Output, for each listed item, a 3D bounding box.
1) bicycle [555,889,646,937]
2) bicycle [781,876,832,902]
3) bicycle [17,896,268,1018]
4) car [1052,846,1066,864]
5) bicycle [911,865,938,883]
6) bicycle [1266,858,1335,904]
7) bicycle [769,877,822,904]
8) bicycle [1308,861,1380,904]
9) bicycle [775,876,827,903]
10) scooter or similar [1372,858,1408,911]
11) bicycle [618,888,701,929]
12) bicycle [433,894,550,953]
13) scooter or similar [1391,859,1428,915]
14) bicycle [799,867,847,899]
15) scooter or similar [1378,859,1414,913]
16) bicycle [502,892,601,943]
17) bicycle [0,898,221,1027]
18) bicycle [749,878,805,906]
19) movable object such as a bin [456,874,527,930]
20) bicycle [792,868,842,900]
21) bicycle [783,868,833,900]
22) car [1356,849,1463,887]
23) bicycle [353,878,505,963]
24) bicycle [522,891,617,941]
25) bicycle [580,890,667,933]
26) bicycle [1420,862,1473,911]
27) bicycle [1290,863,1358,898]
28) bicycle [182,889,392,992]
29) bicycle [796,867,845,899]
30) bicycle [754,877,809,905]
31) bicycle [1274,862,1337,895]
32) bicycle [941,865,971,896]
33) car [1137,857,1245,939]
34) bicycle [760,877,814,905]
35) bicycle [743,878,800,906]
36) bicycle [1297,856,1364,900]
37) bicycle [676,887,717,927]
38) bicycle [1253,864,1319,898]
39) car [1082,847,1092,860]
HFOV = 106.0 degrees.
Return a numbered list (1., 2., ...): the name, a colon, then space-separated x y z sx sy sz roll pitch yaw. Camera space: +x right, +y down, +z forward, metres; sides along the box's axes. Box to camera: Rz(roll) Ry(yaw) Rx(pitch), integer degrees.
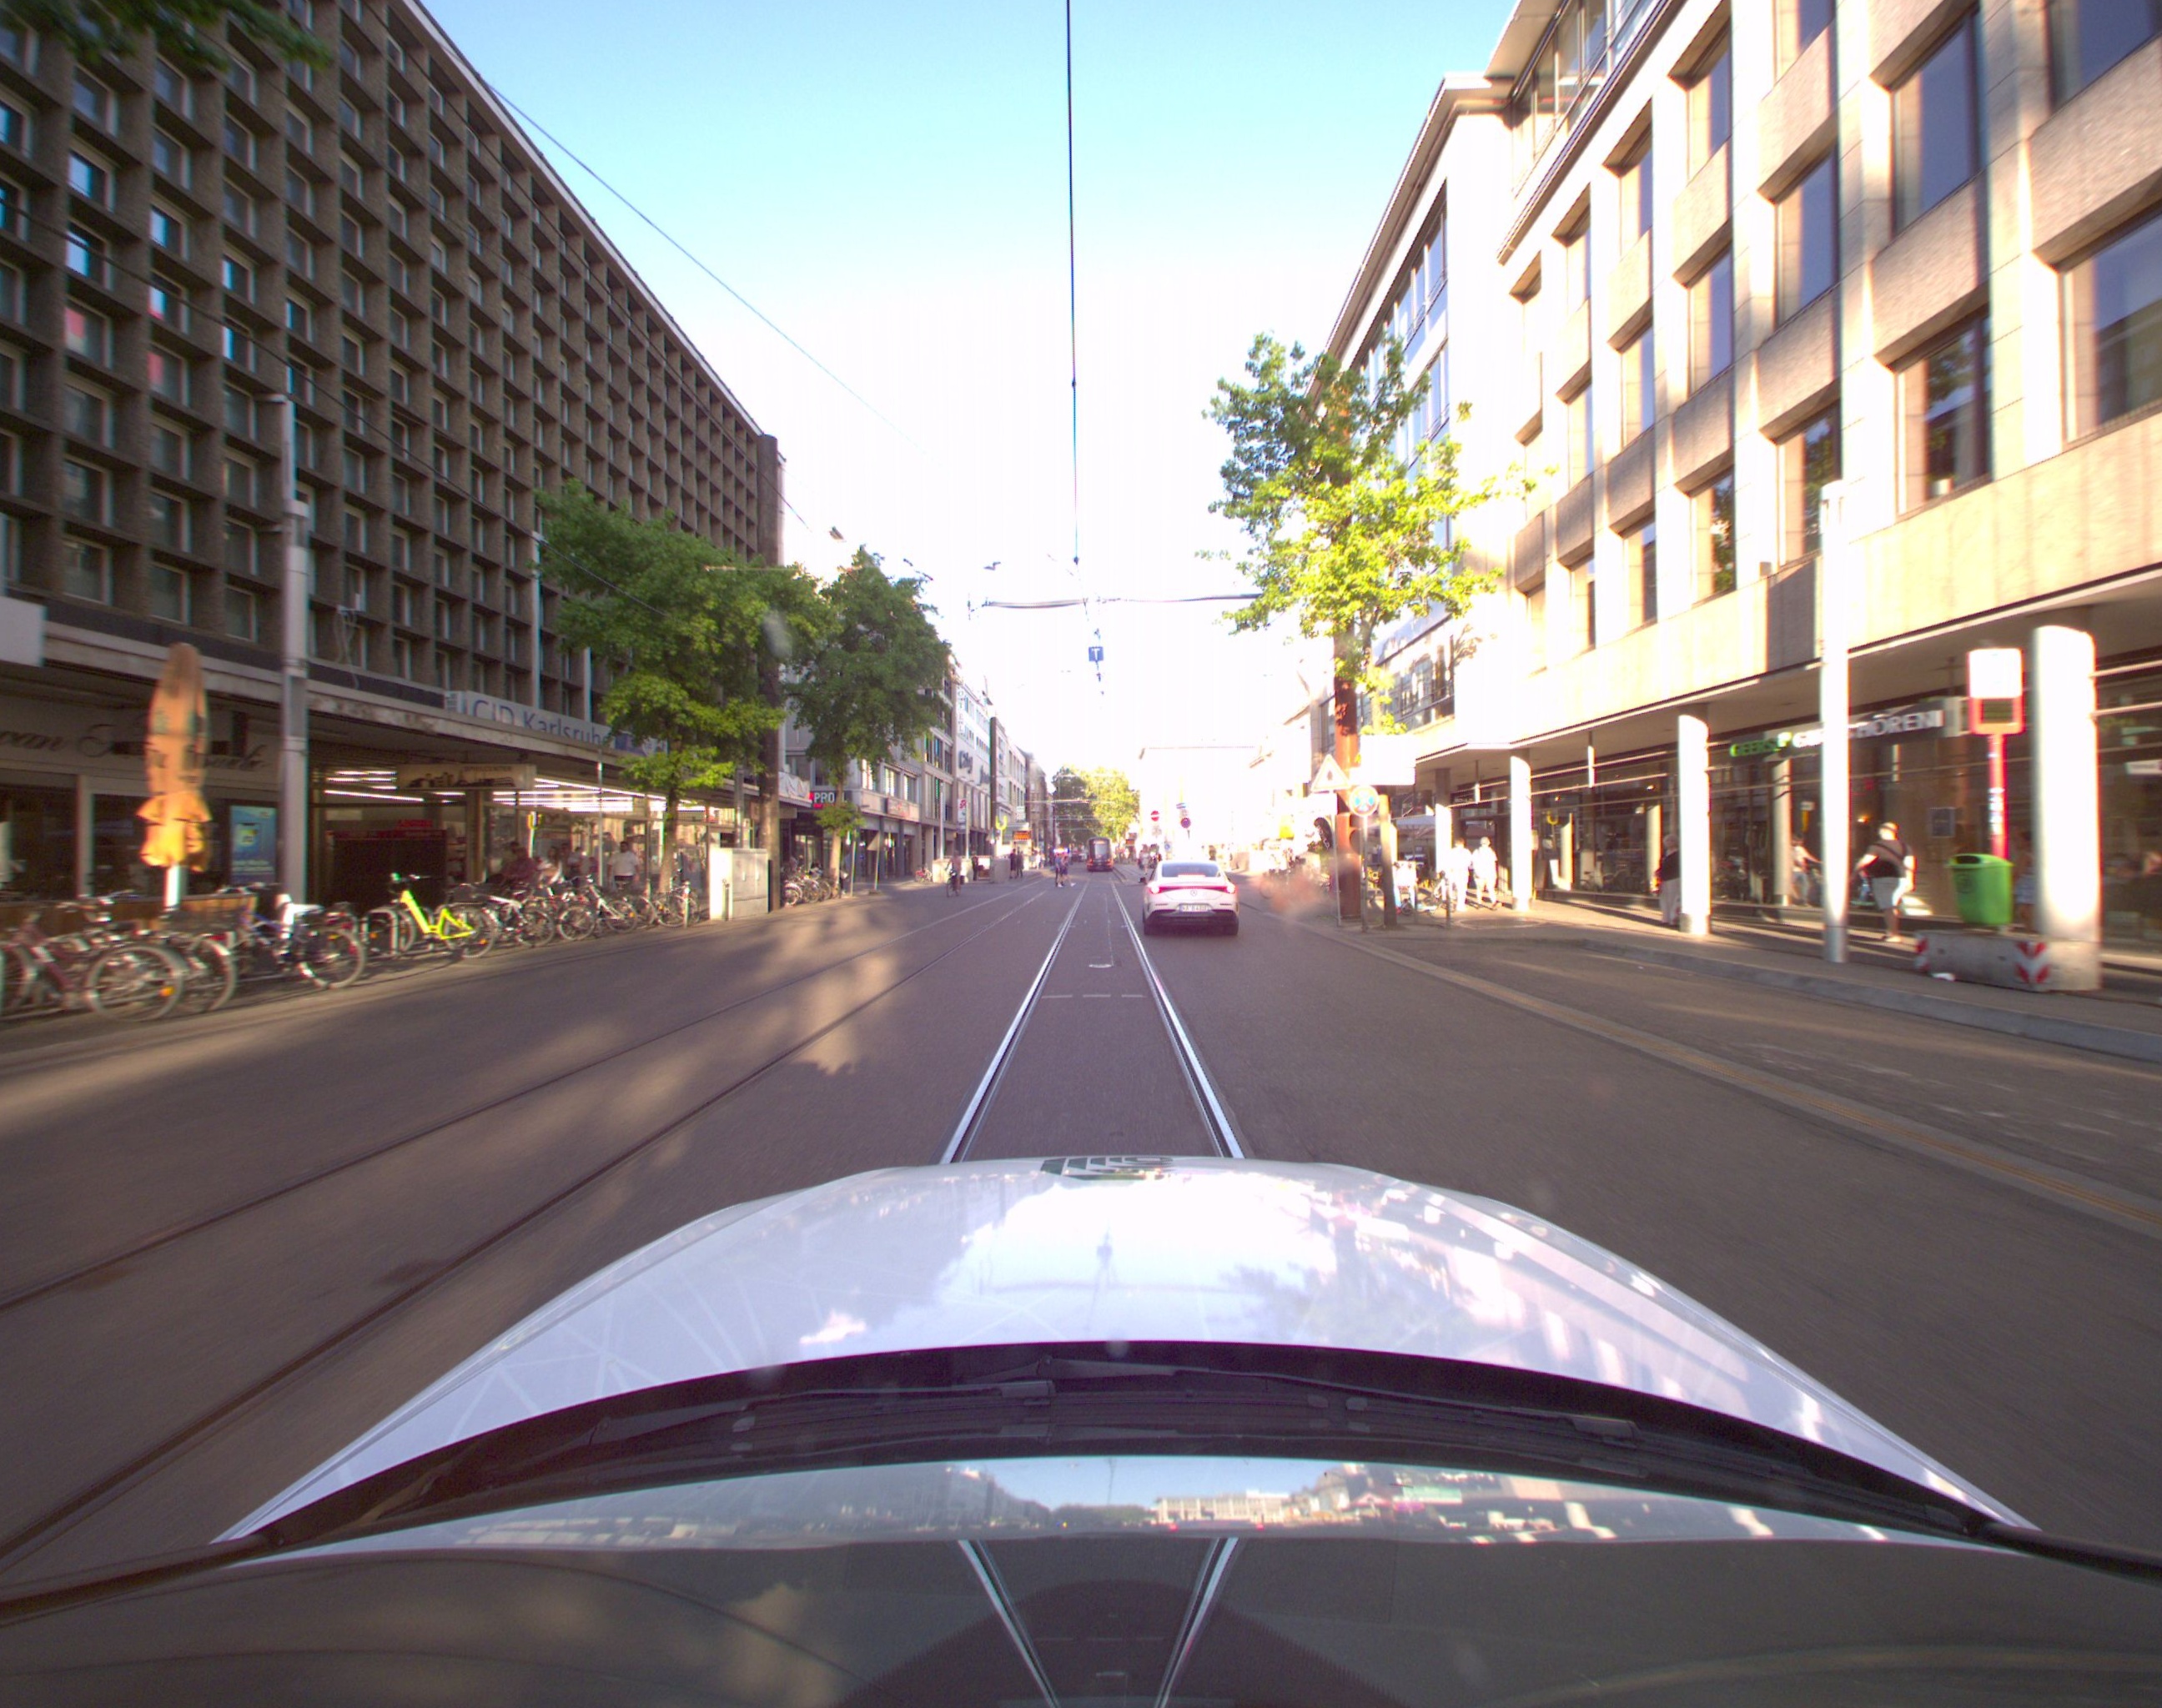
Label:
1. bicycle: -8.878 1.094 15.062 1.487 0.841 0.345 1 0 2
2. bicycle: -8.605 1.101 25.524 1.487 0.783 0.345 1 0 2
3. bicycle: -8.729 0.950 7.608 1.785 1.077 0.377 1 0 -3
4. car: -3.710 0.105 135.870 1.986 2.897 5.277 -1 0 2
5. bicycle: -9.182 1.164 47.772 0.713 1.010 2.047 -1 0 15
6. bicycle: 6.640 0.795 24.670 1.908 1.281 0.608 -2 0 -10
7. bicycle: -8.689 1.104 24.796 1.487 0.783 0.345 1 0 2
8. bicycle: 7.700 0.818 23.822 1.908 1.156 0.608 -2 0 -10
9. bicycle: -8.647 1.098 25.165 1.487 0.783 0.345 1 0 2
10. scooter or similar: 7.825 0.762 20.637 0.527 1.277 0.658 -2 0 -10
11. bicycle: -8.521 1.089 16.471 1.487 0.783 0.345 1 0 2
12. bicycle: -9.120 1.075 12.629 1.490 0.876 0.344 1 0 -5
13. scooter or similar: 7.749 0.765 19.229 0.491 1.277 0.658 -2 0 -10
14. bicycle: -8.643 0.974 27.310 1.492 1.029 0.343 1 0 -9
15. scooter or similar: 7.710 0.774 19.938 0.527 1.277 0.658 -2 0 -10
16. bicycle: -9.113 1.087 14.037 1.487 0.841 0.345 1 0 2
17. bicycle: -8.740 0.947 7.188 1.785 1.077 0.377 1 0 -3
18. bicycle: -8.855 1.096 23.716 1.487 0.783 0.345 1 0 2
19. movable object such as a bin: -11.729 0.938 16.231 0.713 1.039 0.980 -1 0 -5
20. bicycle: -8.606 0.968 26.563 1.492 1.029 0.343 1 0 -9
21. bicycle: -8.750 0.972 26.126 1.492 1.009 0.343 1 0 -9
22. car: 13.572 0.554 33.750 3.794 1.473 1.647 -1 0 -4
23. bicycle: -9.081 0.917 11.367 1.839 1.141 0.377 1 0 2
24. bicycle: -9.071 1.090 14.458 1.487 0.841 0.345 1 0 2
25. bicycle: -8.854 1.103 15.781 1.487 0.783 0.345 1 0 2
26. bicycle: 9.013 0.778 20.160 0.562 1.127 1.932 -2 0 5
27. bicycle: 8.050 0.865 26.967 2.115 1.096 0.607 -1 -1 -12
28. bicycle: -8.711 0.943 8.969 1.842 1.077 0.377 1 0 -3
29. bicycle: -8.607 0.970 26.937 1.492 1.029 0.343 1 0 -9
30. bicycle: -8.840 1.097 24.075 1.487 0.783 0.345 1 0 2
31. bicycle: 8.036 0.867 29.167 2.114 1.096 0.608 -1 -1 -10
32. bicycle: -4.897 1.019 31.929 0.797 1.142 2.257 1 0 0
33. car: 2.141 0.804 16.917 1.850 1.455 4.177 0 0 2
34. bicycle: -8.821 1.105 24.435 1.487 0.783 0.345 1 0 2
35. bicycle: -8.867 1.090 23.361 1.487 0.783 0.345 1 0 2
36. bicycle: 7.836 0.748 25.559 1.908 1.281 0.608 -2 0 -10
37. bicycle: -8.228 1.119 17.473 0.343 0.783 1.402 1 0 -6
38. bicycle: 6.959 0.907 27.650 2.114 1.096 0.608 0 -1 -10
39. car: 1.331 -0.082 186.650 2.091 2.897 5.277 -1 0 2
